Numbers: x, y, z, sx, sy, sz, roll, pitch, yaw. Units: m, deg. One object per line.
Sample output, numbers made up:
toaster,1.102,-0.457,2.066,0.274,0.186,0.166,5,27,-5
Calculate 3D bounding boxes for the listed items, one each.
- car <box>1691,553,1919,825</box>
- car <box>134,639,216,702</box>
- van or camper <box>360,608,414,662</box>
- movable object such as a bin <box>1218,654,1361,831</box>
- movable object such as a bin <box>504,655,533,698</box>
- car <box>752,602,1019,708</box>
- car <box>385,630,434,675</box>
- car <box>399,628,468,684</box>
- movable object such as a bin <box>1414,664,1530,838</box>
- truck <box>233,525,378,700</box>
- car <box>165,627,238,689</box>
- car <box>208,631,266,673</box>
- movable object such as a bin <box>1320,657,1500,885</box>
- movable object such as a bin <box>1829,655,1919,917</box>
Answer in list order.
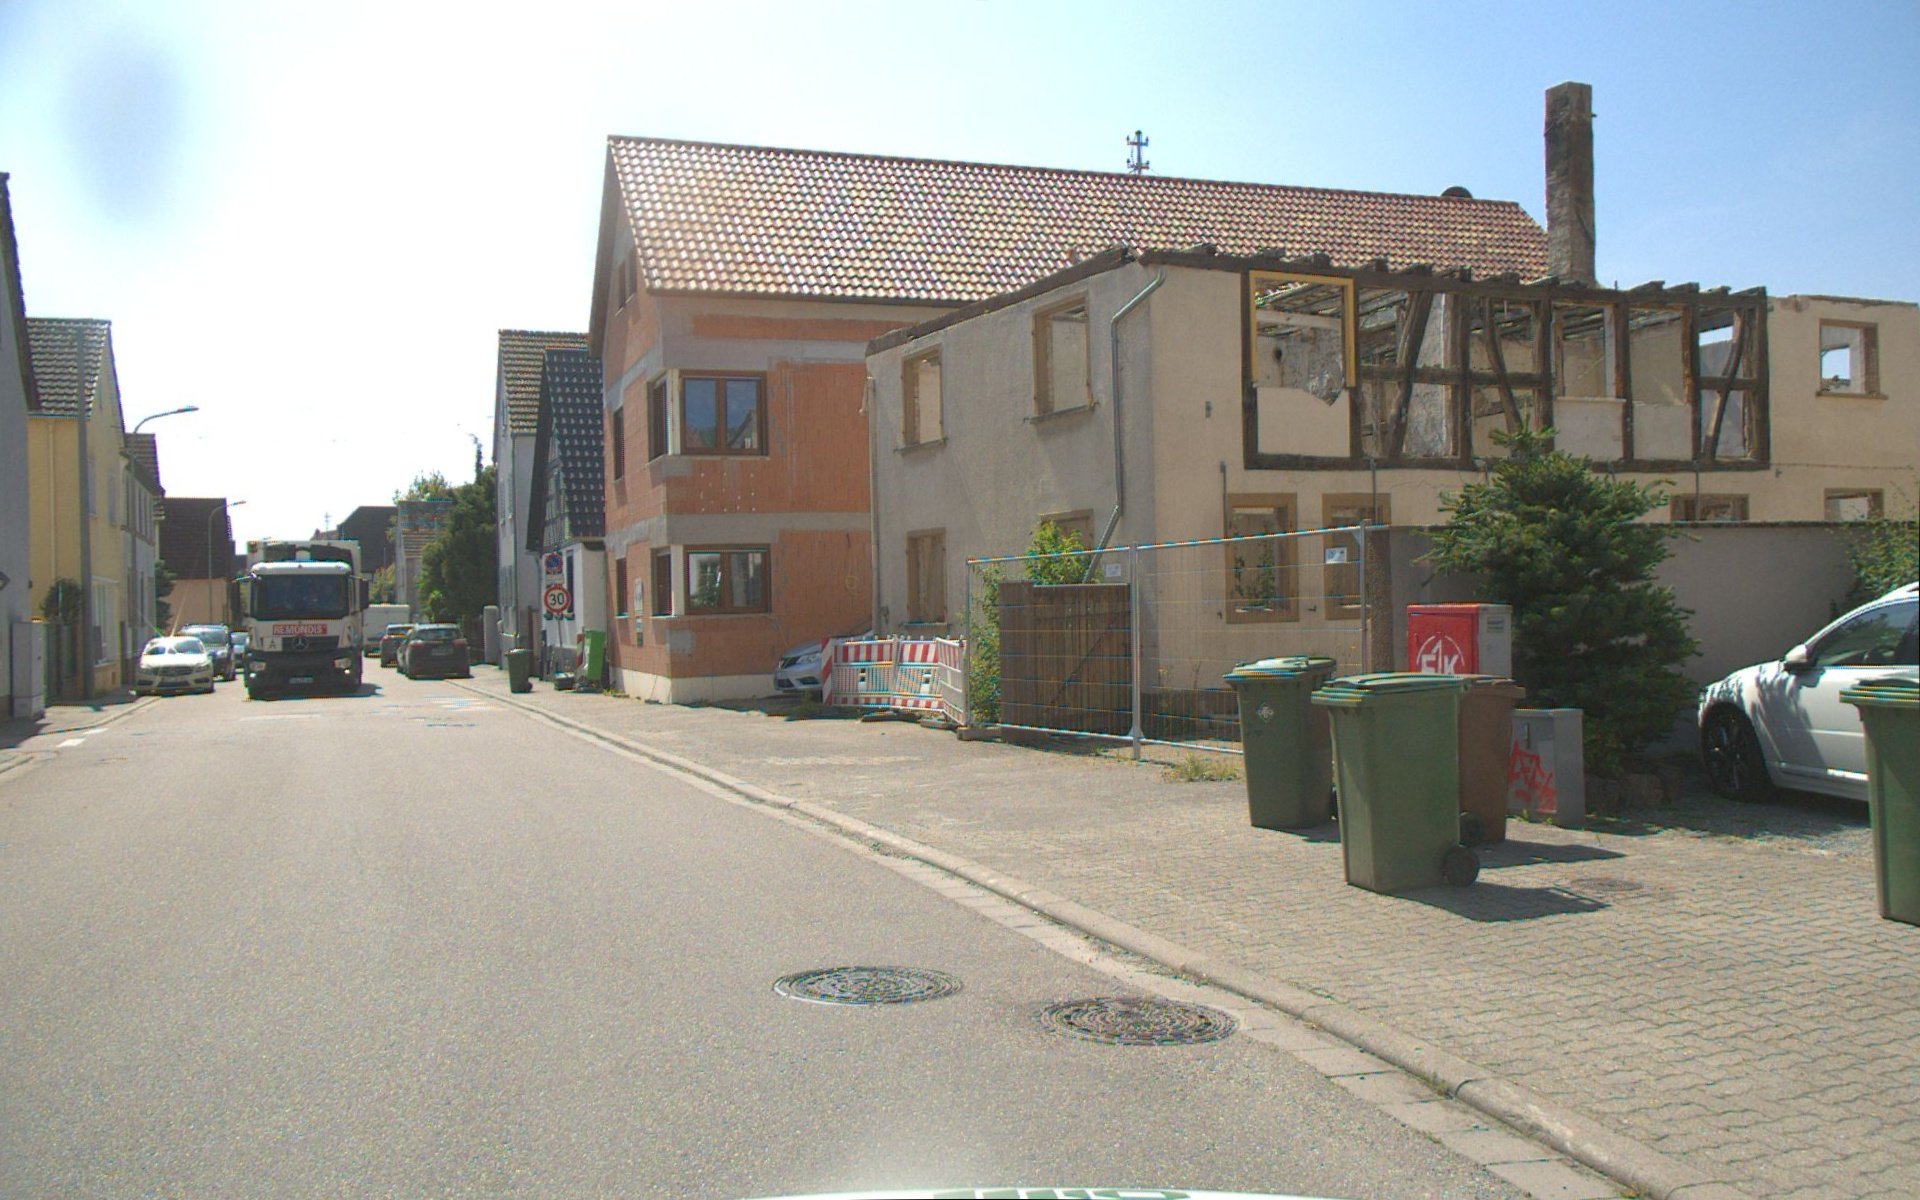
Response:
car,6.336,0.488,9.743,1.776,1.555,4.290,-1,0,-6
car,-20.389,1.790,43.055,1.811,1.489,4.237,-2,0,-25
van or camper,-30.615,1.870,88.280,2.487,2.744,4.523,-1,-1,-22
movable object such as a bin,2.190,0.917,10.962,0.659,1.091,0.759,-2,-1,36
movable object such as a bin,-9.953,1.721,37.270,0.527,0.929,0.551,-1,-1,-5
car,-1.239,0.883,27.614,4.041,1.534,1.853,-2,0,-28
car,-21.996,2.067,66.162,1.766,1.659,4.338,-1,0,-18
car,-16.221,1.682,50.856,1.772,1.587,4.602,-1,-1,-21
movable object such as a bin,3.061,0.888,9.902,0.457,0.987,0.494,-1,-1,-15
truck,-16.398,0.336,42.054,2.654,3.816,10.812,-2,0,-18
car,-24.666,1.853,53.872,1.808,1.869,4.326,-2,0,-21
car,-28.319,2.023,64.853,1.818,1.553,4.735,-1,-1,-21
movable object such as a bin,2.348,0.868,8.685,0.675,1.111,0.635,-1,-1,-14
movable object such as a bin,4.416,0.803,7.279,0.708,1.100,0.751,-1,-1,-17
